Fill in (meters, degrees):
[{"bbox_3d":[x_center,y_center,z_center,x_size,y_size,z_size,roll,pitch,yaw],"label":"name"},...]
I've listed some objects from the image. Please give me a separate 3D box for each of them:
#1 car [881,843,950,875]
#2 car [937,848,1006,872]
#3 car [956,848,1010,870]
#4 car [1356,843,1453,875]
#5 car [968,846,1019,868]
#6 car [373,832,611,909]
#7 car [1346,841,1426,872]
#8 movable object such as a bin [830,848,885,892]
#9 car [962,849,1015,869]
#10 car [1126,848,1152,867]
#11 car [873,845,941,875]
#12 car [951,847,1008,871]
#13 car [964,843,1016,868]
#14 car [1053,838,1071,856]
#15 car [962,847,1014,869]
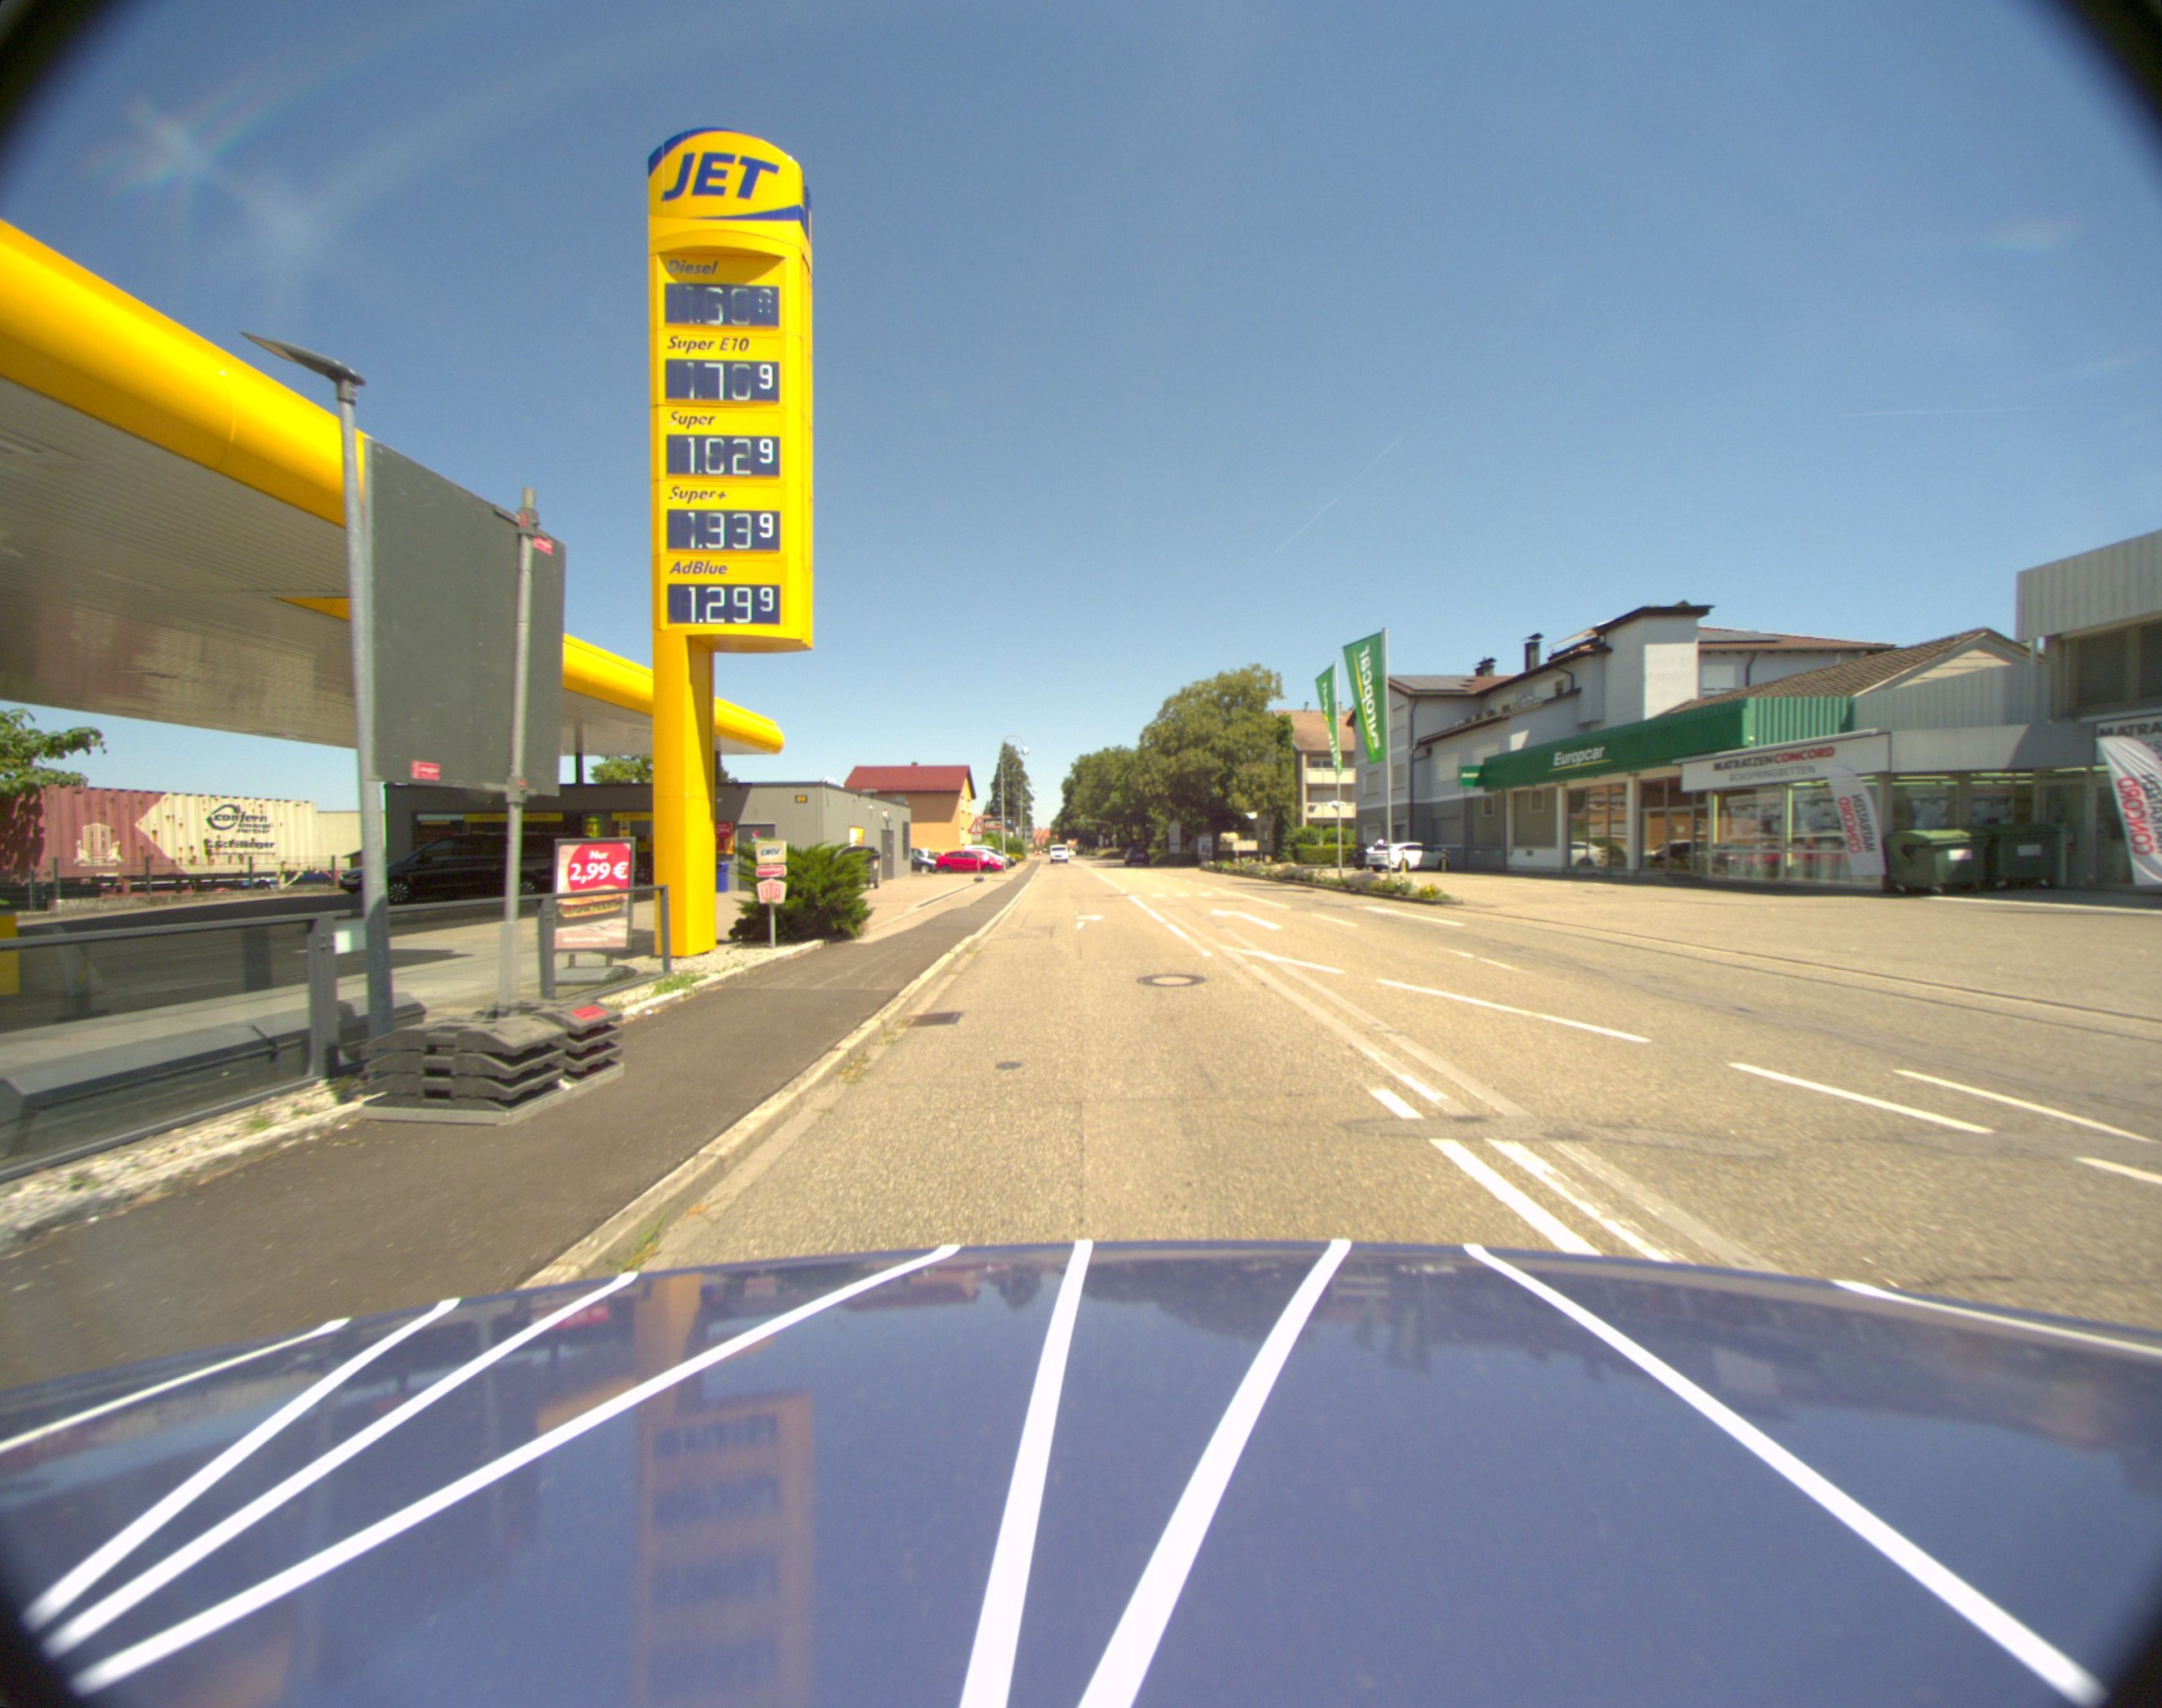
[{"bbox_3d":[-11.454,0.355,52.901,4.352,1.885,1.971,-4,1,-5],"label":"car"},{"bbox_3d":[-6.978,0.383,48.869,4.236,1.526,1.957,0,0,-3],"label":"car"},{"bbox_3d":[-6.905,0.334,53.648,3.695,1.557,1.749,0,0,-6],"label":"car"},{"bbox_3d":[15.950,0.216,37.490,4.360,1.431,1.936,-2,1,-24],"label":"car"},{"bbox_3d":[-6.908,0.228,60.266,3.887,1.671,1.762,0,0,-5],"label":"car"},{"bbox_3d":[-16.440,0.444,21.405,5.063,1.964,2.000,-1,1,0],"label":"car"},{"bbox_3d":[16.551,0.110,41.379,3.570,1.556,1.969,-1,1,-2],"label":"car"},{"bbox_3d":[-7.485,0.509,25.531,1.438,1.429,1.467,0,1,-1],"label":"movable object such as a bin"},{"bbox_3d":[-7.038,0.357,57.998,3.802,1.501,1.833,0,0,-1],"label":"car"},{"bbox_3d":[4.914,0.251,64.830,1.767,1.518,4.136,-1,1,-2],"label":"car"},{"bbox_3d":[-11.547,0.396,50.660,4.050,1.658,1.782,-4,1,-2],"label":"car"},{"bbox_3d":[-6.823,0.339,51.344,3.695,1.557,1.707,0,0,-5],"label":"car"},{"bbox_3d":[-7.460,0.120,62.338,4.147,1.927,1.806,-1,1,-7],"label":"car"},{"bbox_3d":[-2.136,-0.803,84.391,1.797,1.904,3.638,-1,1,-4],"label":"car"},{"bbox_3d":[-6.790,0.306,55.929,3.695,1.557,1.641,0,0,-4],"label":"car"}]
